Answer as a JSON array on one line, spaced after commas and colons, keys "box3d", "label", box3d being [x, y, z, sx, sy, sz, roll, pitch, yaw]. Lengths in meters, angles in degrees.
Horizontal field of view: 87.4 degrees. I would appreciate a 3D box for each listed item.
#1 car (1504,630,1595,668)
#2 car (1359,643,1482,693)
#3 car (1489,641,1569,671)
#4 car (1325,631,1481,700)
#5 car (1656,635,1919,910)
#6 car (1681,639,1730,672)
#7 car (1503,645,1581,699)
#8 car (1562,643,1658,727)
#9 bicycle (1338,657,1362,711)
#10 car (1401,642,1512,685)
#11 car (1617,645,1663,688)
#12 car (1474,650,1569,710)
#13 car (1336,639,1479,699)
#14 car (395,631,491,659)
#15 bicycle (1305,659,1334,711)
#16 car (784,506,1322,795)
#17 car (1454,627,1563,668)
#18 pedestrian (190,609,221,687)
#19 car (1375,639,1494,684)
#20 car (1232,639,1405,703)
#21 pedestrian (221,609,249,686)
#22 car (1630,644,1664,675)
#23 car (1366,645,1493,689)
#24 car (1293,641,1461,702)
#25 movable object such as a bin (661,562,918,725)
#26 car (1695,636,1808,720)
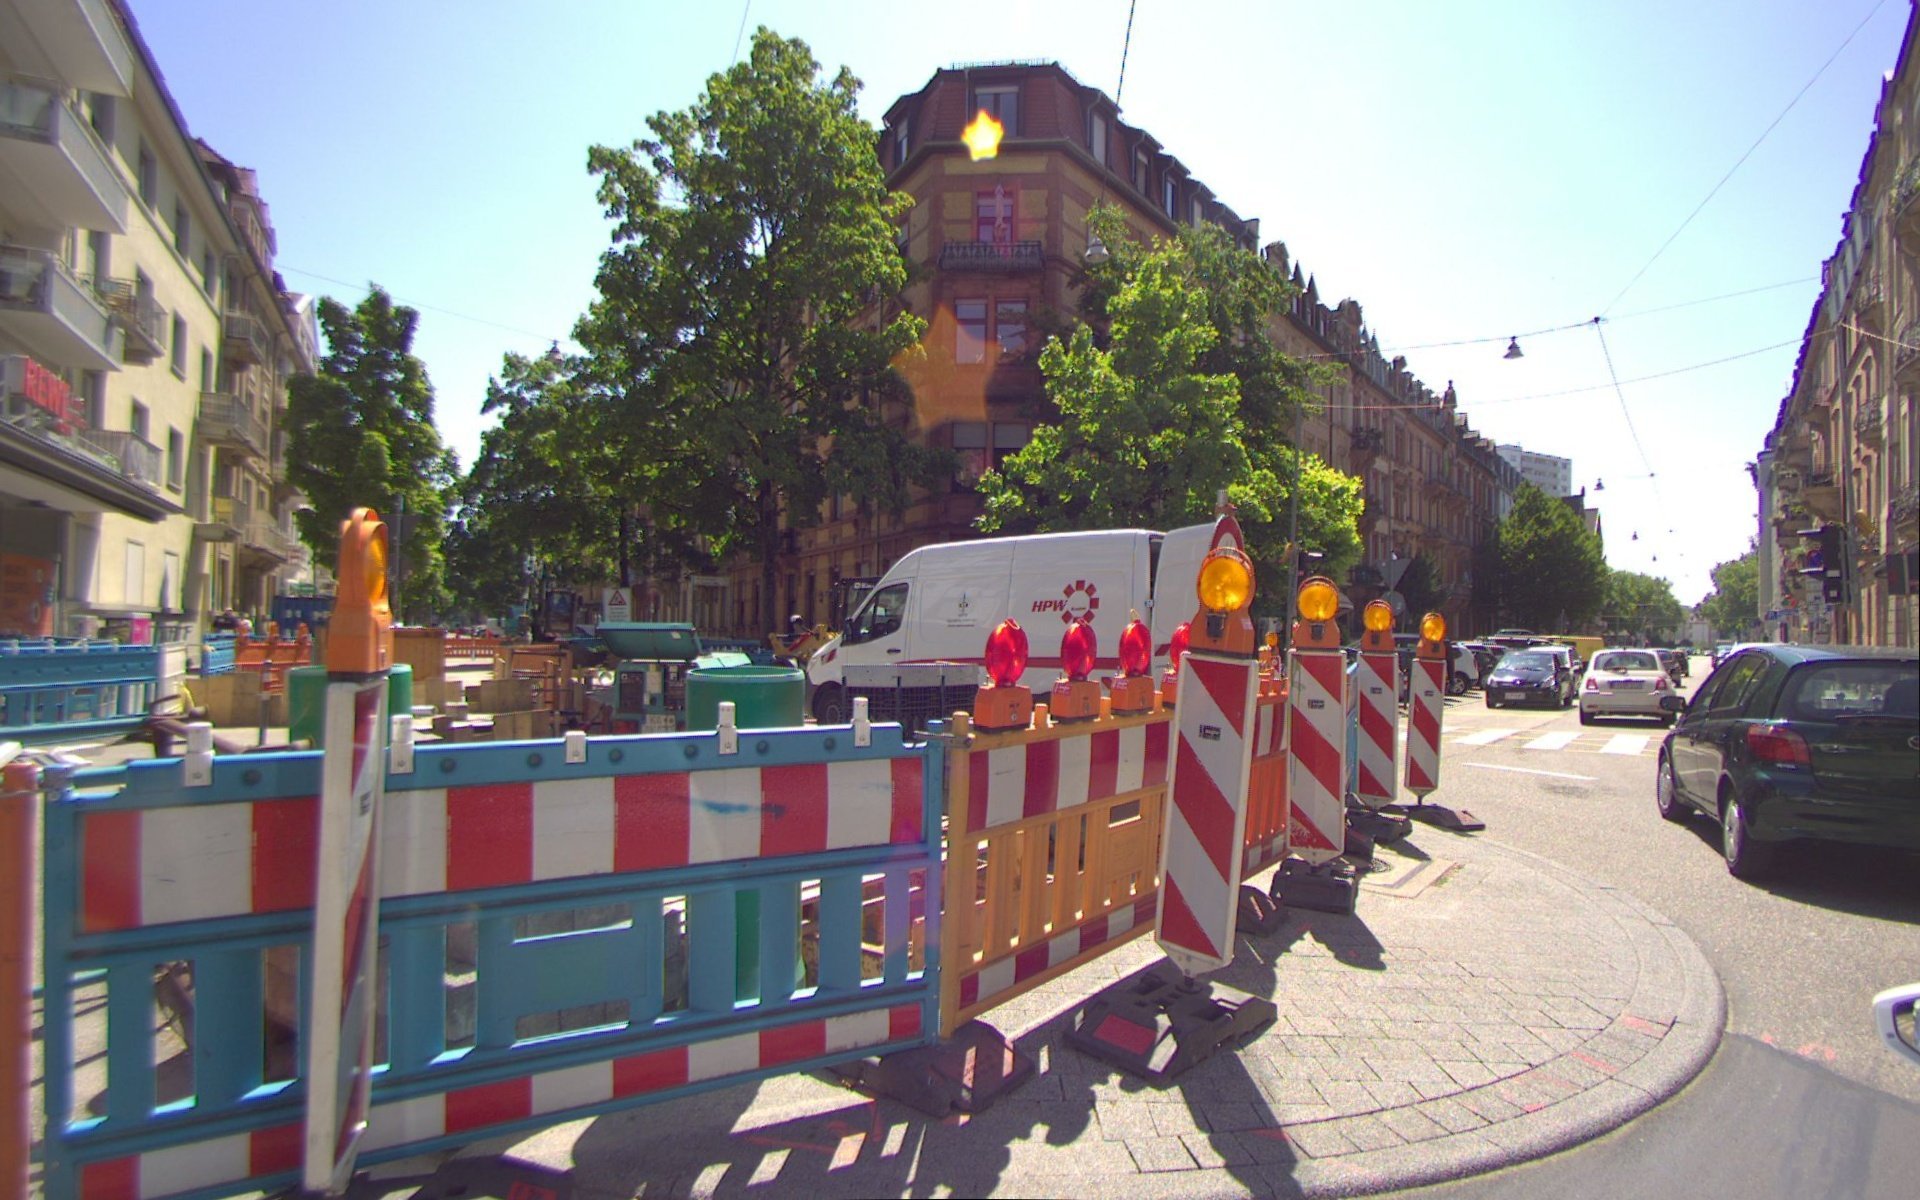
[{"box3d": [36.598, 3.016, 62.483, 4.480, 2.216, 2.002, 1, -2, 10], "label": "car"}, {"box3d": [15.825, 2.320, 34.699, 3.557, 1.477, 1.626, 2, -1, 13], "label": "car"}, {"box3d": [33.757, 3.328, 59.711, 3.796, 1.661, 1.787, 1, -2, 13], "label": "car"}, {"box3d": [13.277, 1.944, 30.325, 3.919, 1.828, 1.770, 2, -1, 7], "label": "car"}, {"box3d": [6.111, 1.032, 7.031, 1.589, 1.505, 3.237, 1, -2, 27], "label": "car"}, {"box3d": [34.235, 2.538, 46.151, 1.732, 1.448, 3.986, -1, -3, 36], "label": "car"}, {"box3d": [19.596, 2.396, 33.723, 1.732, 1.666, 4.362, -4, -5, 36], "label": "car"}, {"box3d": [13.319, 1.659, 20.509, 1.502, 1.541, 3.253, 0, -2, 35], "label": "car"}, {"box3d": [9.248, 1.964, 23.820, 0.482, 1.188, 1.684, 2, -1, 21], "label": "bicycle"}, {"box3d": [20.800, 2.645, 42.197, 3.843, 1.640, 1.867, 1, -2, 13], "label": "car"}, {"box3d": [27.528, 2.646, 40.647, 1.502, 1.613, 3.253, 0, -2, 35], "label": "car"}, {"box3d": [15.059, 2.071, 26.849, 1.732, 1.463, 3.986, -1, -3, 36], "label": "car"}, {"box3d": [14.466, 2.195, 32.683, 3.919, 1.680, 1.761, 2, -1, 14], "label": "car"}, {"box3d": [-24.633, 2.161, 47.936, 3.950, 1.279, 1.615, 2, -2, -28], "label": "car"}, {"box3d": [8.381, 1.958, 23.369, 0.483, 1.095, 1.898, 2, -1, 23], "label": "bicycle"}, {"box3d": [0.886, 0.511, 12.672, 6.539, 2.788, 2.370, 0, -1, 38], "label": "car"}, {"box3d": [29.053, 2.523, 53.338, 4.692, 2.020, 2.055, 1, -2, 8], "label": "car"}, {"box3d": [-19.941, 1.256, 26.557, 0.539, 2.040, 0.410, 2, -2, -29], "label": "pedestrian"}, {"box3d": [18.720, 2.416, 39.711, 3.848, 1.640, 1.865, 1, -2, -4], "label": "car"}, {"box3d": [9.341, 1.840, 26.490, 3.919, 1.394, 2.001, 2, -1, 8], "label": "car"}, {"box3d": [-19.432, 1.267, 26.930, 0.499, 2.040, 0.443, 2, -2, -29], "label": "pedestrian"}, {"box3d": [38.159, 3.277, 55.785, 1.502, 1.613, 3.254, 0, -2, 35], "label": "car"}, {"box3d": [17.251, 2.450, 37.007, 3.848, 1.489, 1.865, 1, -2, -4], "label": "car"}, {"box3d": [11.670, 1.982, 28.334, 3.919, 1.431, 1.972, 2, -1, 5], "label": "car"}, {"box3d": [-3.194, 0.735, 18.617, 4.478, 2.694, 1.951, 0, -2, 32], "label": "movable object such as a bin"}, {"box3d": [18.189, 1.739, 23.235, 1.848, 1.735, 4.488, -2, -4, 36], "label": "car"}]
